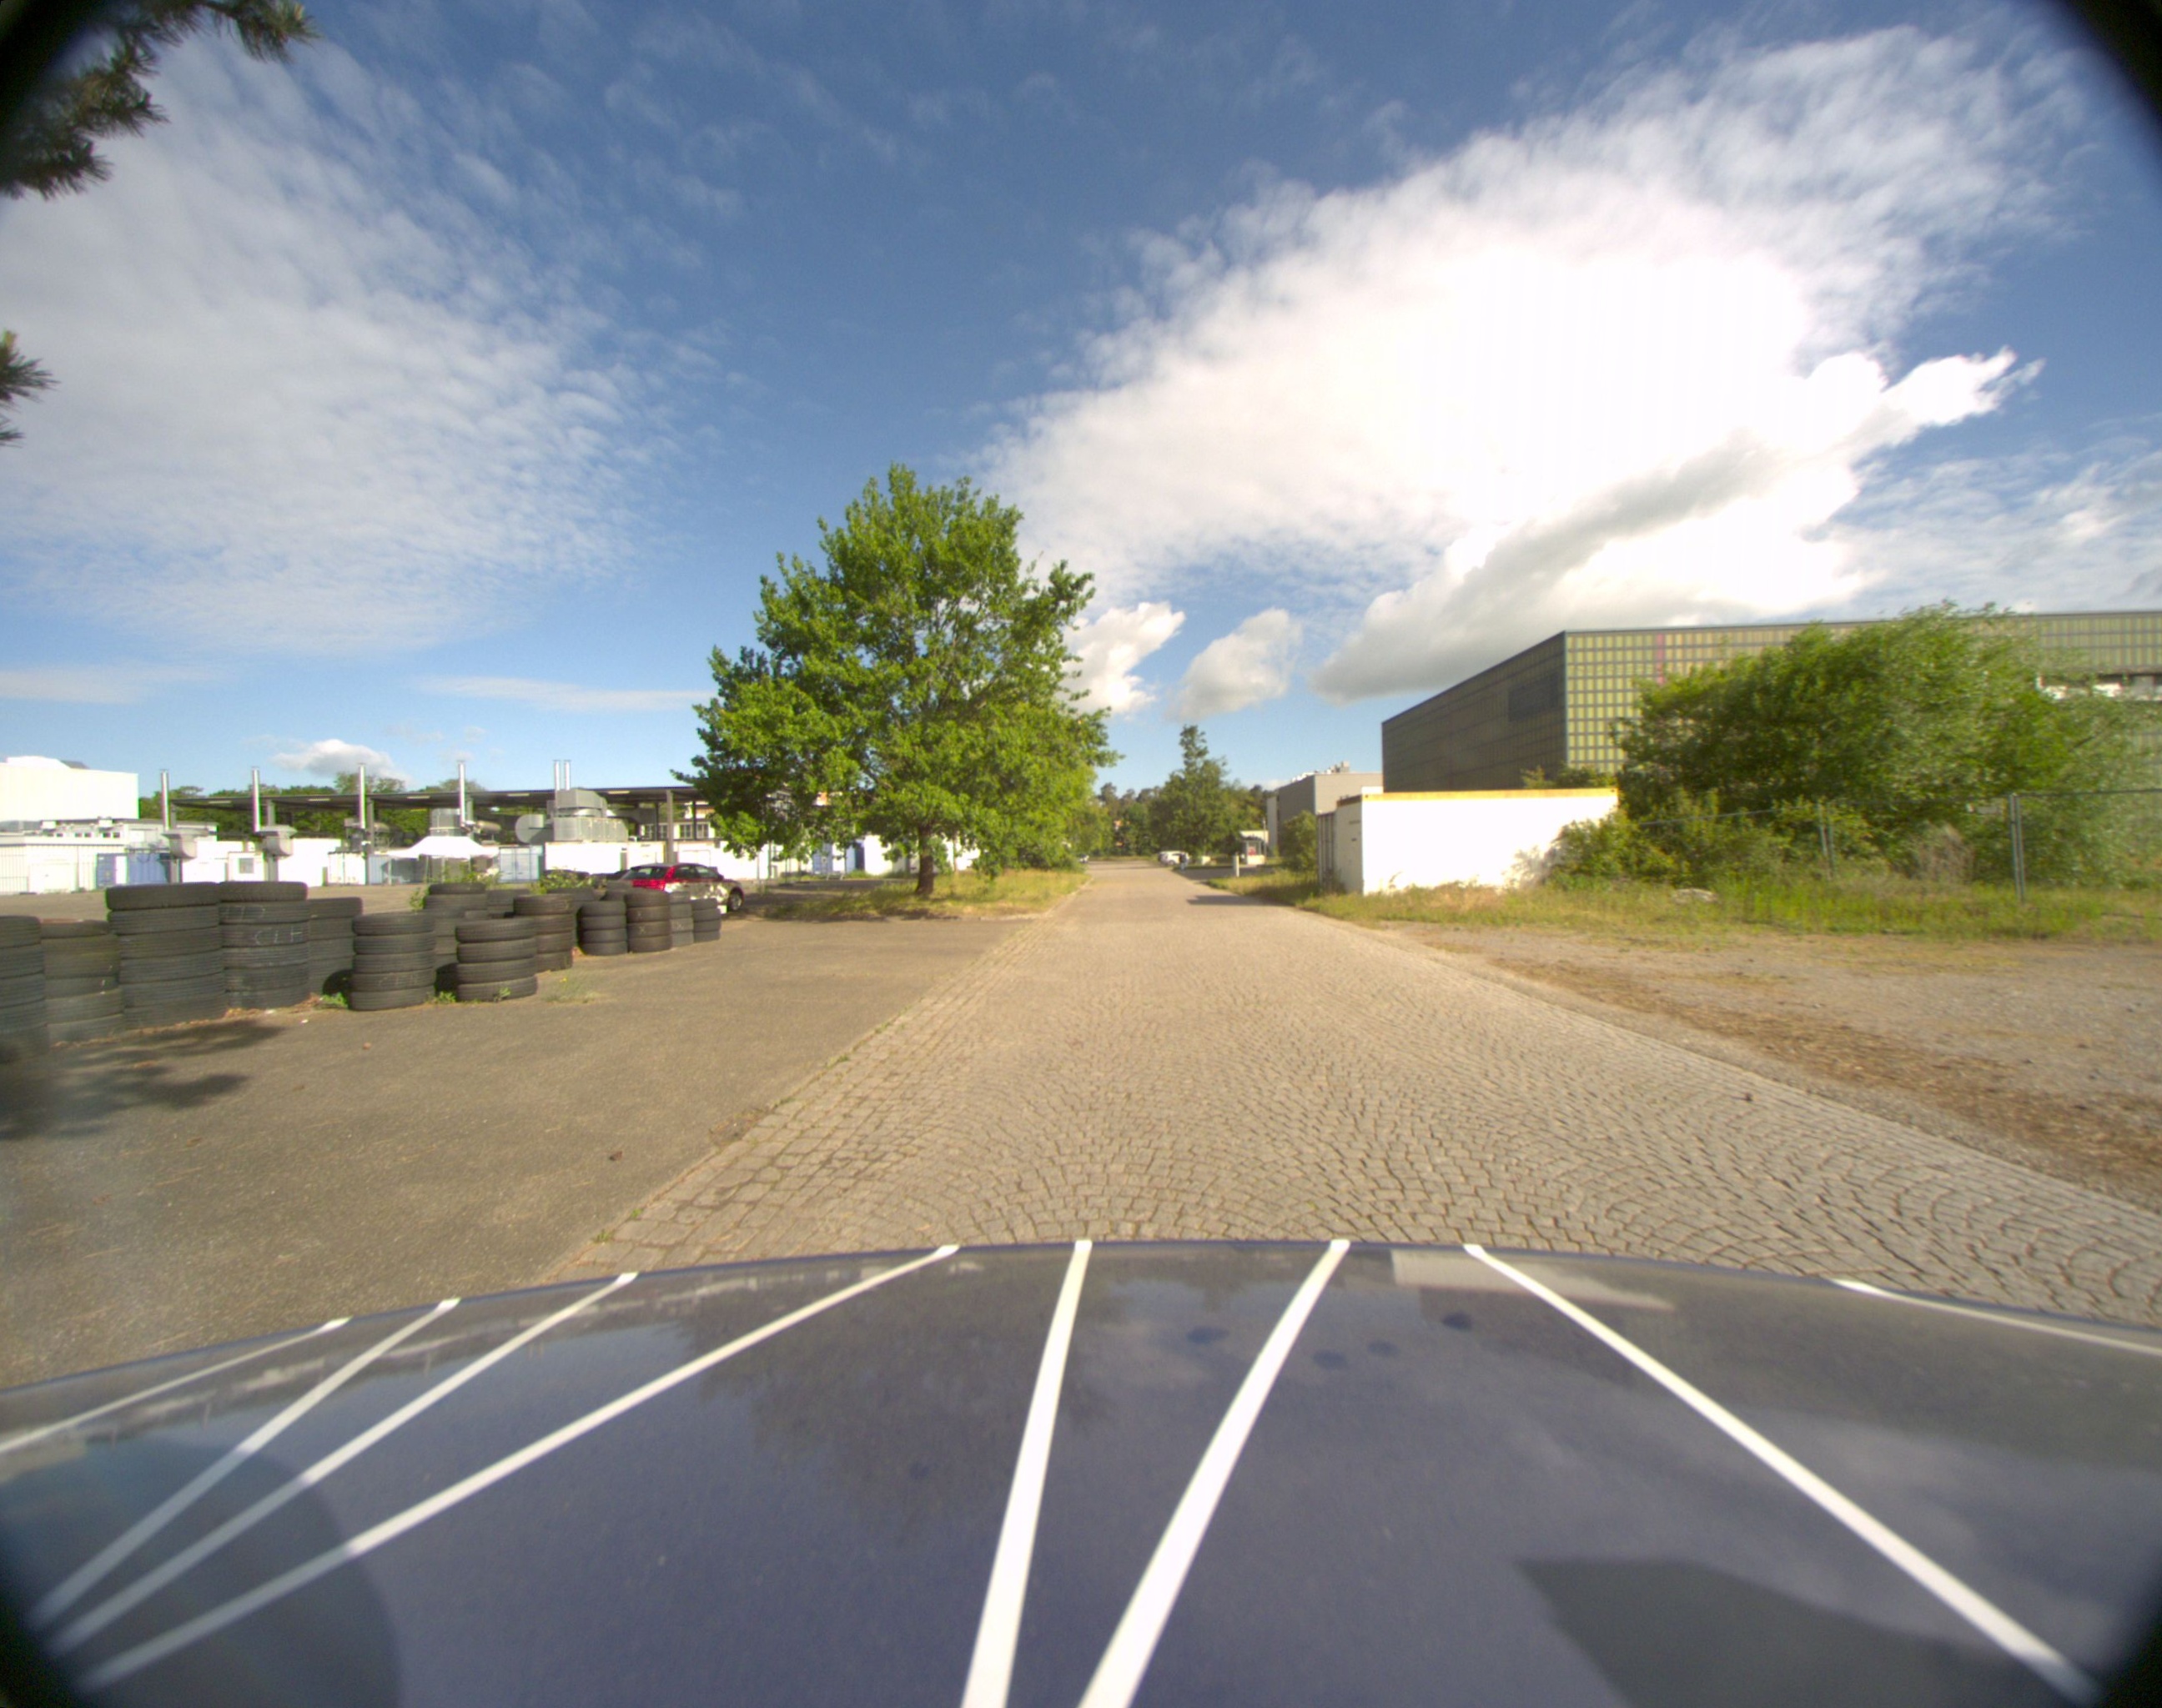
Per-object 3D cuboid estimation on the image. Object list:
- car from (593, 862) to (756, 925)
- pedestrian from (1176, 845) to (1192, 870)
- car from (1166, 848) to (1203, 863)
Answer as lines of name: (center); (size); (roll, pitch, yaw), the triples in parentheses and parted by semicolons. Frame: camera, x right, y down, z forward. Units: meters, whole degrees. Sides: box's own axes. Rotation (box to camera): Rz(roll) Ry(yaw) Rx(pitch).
car: (-10.889, 1.004, 20.732); (1.846, 1.440, 4.002); (-1, 0, 9)
pedestrian: (7.380, 0.247, 54.596); (0.908, 1.797, 0.983); (-1, 1, -4)
car: (11.614, 0.157, 85.359); (3.995, 1.678, 2.001); (-1, 1, 6)
